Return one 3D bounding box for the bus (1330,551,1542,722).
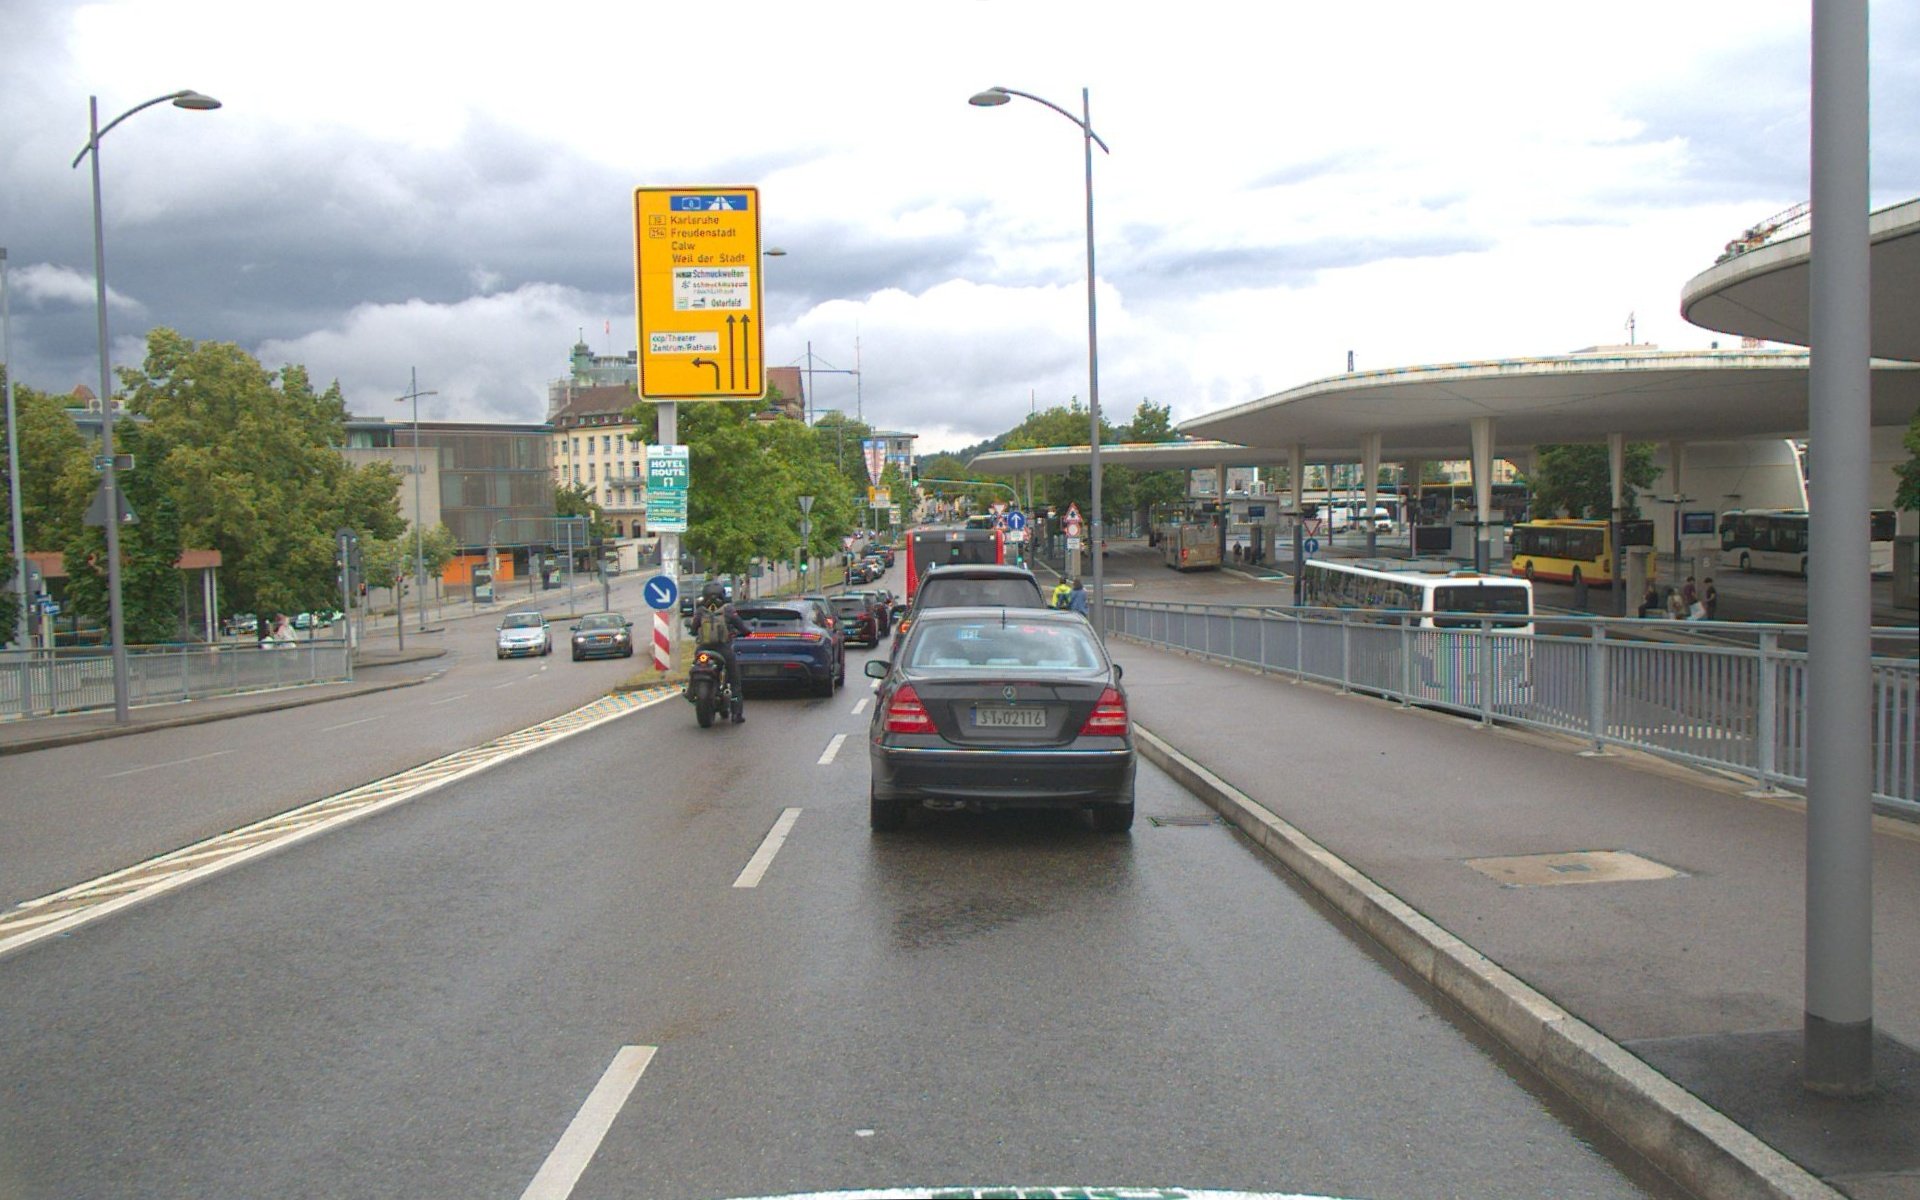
[{"bbox_3d":[11.124,0.685,39.364,2.594,3.291,7.069,-2,4,-4],"label":"bus"}]

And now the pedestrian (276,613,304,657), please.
[{"bbox_3d":[-22.540,1.188,55.643,0.634,1.433,0.531,-2,2,2],"label":"pedestrian"}]

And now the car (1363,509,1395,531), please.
[{"bbox_3d":[40.241,-7.663,158.951,1.953,2.048,4.000,-2,2,-1],"label":"car"}]

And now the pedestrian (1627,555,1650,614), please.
[{"bbox_3d":[23.913,-0.555,58.308,0.532,2.048,0.579,-2,1,0],"label":"pedestrian"}]

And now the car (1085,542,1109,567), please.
[{"bbox_3d":[11.489,-3.811,138.447,1.951,2.048,4.003,-2,1,5],"label":"car"}]

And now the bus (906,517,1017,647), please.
[{"bbox_3d":[-0.027,-0.510,46.281,2.770,3.245,10.307,0,1,-1],"label":"bus"}]

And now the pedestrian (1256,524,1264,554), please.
[{"bbox_3d":[20.612,-4.157,113.523,0.415,2.048,0.483,-2,1,1],"label":"pedestrian"}]

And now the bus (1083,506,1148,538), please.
[{"bbox_3d":[18.043,-9.090,191.970,7.057,3.455,3.080,-2,2,-4],"label":"bus"}]

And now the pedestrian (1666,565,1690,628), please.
[{"bbox_3d":[23.612,-0.130,54.413,0.549,2.048,0.483,-2,1,1],"label":"pedestrian"}]

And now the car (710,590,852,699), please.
[{"bbox_3d":[-2.606,0.602,24.863,1.724,1.461,4.000,0,1,0],"label":"car"}]

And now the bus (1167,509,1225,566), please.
[{"bbox_3d":[16.037,-4.182,113.107,3.111,3.663,10.516,-1,1,4],"label":"bus"}]

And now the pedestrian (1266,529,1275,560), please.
[{"bbox_3d":[20.663,-3.694,110.003,0.415,2.049,0.483,-2,-1,1],"label":"pedestrian"}]

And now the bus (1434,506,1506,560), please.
[{"bbox_3d":[32.596,-4.284,105.868,2.546,3.265,6.996,-2,2,1],"label":"bus"}]

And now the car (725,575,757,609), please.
[{"bbox_3d":[-13.936,-0.506,105.492,1.956,2.049,4.195,-2,0,-7],"label":"car"}]

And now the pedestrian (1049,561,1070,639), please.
[{"bbox_3d":[2.635,0.009,43.669,0.479,2.049,0.470,-2,-1,1],"label":"pedestrian"}]

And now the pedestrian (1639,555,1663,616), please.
[{"bbox_3d":[23.781,-0.502,56.914,0.532,2.048,0.579,-2,1,0],"label":"pedestrian"}]

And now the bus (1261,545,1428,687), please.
[{"bbox_3d":[10.647,0.290,46.501,2.594,3.291,7.069,-2,4,-4],"label":"bus"}]

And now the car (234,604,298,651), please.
[{"bbox_3d":[-34.636,1.375,82.451,1.979,2.048,3.948,3,1,-37],"label":"car"}]

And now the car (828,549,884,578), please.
[{"bbox_3d":[-7.862,-2.753,125.017,3.903,2.048,2.001,-2,1,4],"label":"car"}]

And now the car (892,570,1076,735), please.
[{"bbox_3d":[0.386,0.517,19.299,1.788,1.716,4.003,0,1,6],"label":"car"}]

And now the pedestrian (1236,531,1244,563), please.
[{"bbox_3d":[18.334,-3.477,108.436,0.415,2.048,0.483,-2,1,1],"label":"pedestrian"}]

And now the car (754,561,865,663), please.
[{"bbox_3d":[-3.111,0.211,34.993,1.952,2.041,4.000,0,1,0],"label":"car"}]

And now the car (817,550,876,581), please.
[{"bbox_3d":[-8.154,-2.498,119.155,3.903,2.048,2.001,-2,1,4],"label":"car"}]

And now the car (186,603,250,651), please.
[{"bbox_3d":[-36.490,1.304,81.275,1.979,2.048,3.948,3,1,-37],"label":"car"}]

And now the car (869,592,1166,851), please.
[{"bbox_3d":[0.349,0.683,11.249,1.671,1.444,3.726,1,0,1],"label":"car"}]

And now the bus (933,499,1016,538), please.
[{"bbox_3d":[1.584,-9.197,185.699,3.235,4.076,10.745,-5,6,-38],"label":"bus"}]

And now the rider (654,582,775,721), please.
[{"bbox_3d":[-2.790,0.548,19.061,0.862,1.497,2.197,1,1,5],"label":"rider"}]

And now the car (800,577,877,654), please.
[{"bbox_3d":[-3.362,0.394,46.461,1.953,2.041,3.999,0,1,-1],"label":"car"}]

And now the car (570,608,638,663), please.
[{"bbox_3d":[-11.691,1.128,54.555,1.799,1.553,4.586,-2,1,-8],"label":"car"}]

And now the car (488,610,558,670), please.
[{"bbox_3d":[-16.094,1.446,61.142,1.956,2.049,3.993,-2,0,-8],"label":"car"}]

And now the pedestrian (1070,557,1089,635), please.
[{"bbox_3d":[3.146,-0.096,43.612,0.415,2.049,0.483,-2,-1,1],"label":"pedestrian"}]

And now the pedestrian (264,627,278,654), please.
[{"bbox_3d":[-23.201,1.350,55.685,0.294,0.888,0.298,-2,2,2],"label":"pedestrian"}]

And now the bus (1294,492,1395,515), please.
[{"bbox_3d":[39.800,-10.010,171.167,9.967,2.048,2.169,-2,1,-4],"label":"bus"}]
